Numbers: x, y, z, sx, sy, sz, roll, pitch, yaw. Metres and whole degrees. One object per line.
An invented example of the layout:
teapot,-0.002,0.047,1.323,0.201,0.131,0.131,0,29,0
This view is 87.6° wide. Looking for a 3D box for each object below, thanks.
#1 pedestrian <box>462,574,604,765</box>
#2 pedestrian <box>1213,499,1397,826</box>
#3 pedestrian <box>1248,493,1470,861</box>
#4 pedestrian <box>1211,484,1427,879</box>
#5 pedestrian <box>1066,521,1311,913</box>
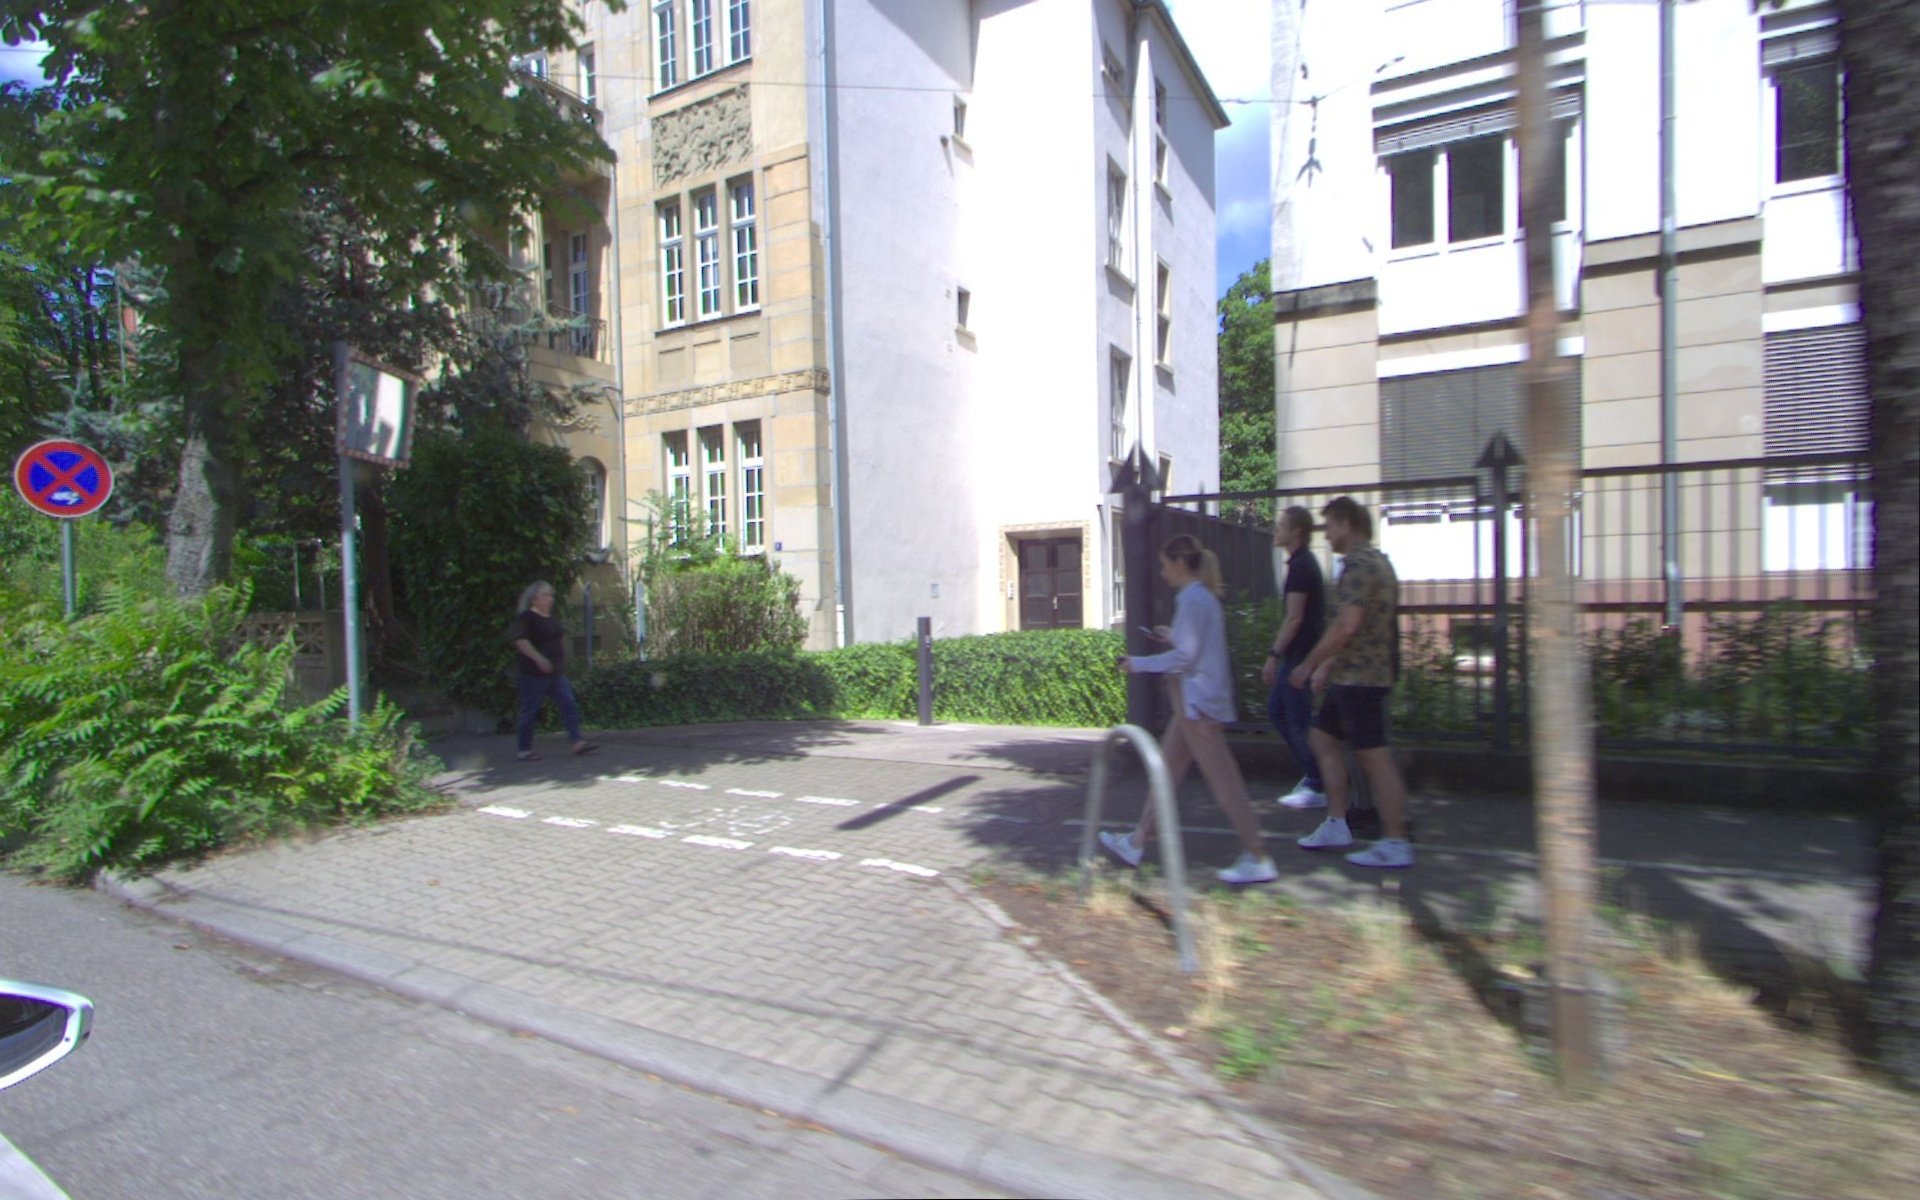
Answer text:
pedestrian,-3.959,0.608,9.303,0.825,1.668,0.854,-1,1,33
pedestrian,2.121,0.358,6.135,0.962,1.836,0.660,0,1,28
pedestrian,2.168,0.376,5.428,1.035,1.785,0.787,-1,1,26
pedestrian,1.833,0.375,5.082,0.932,1.800,0.704,0,1,28
pedestrian,1.118,0.501,4.829,0.959,1.673,0.765,0,1,30
